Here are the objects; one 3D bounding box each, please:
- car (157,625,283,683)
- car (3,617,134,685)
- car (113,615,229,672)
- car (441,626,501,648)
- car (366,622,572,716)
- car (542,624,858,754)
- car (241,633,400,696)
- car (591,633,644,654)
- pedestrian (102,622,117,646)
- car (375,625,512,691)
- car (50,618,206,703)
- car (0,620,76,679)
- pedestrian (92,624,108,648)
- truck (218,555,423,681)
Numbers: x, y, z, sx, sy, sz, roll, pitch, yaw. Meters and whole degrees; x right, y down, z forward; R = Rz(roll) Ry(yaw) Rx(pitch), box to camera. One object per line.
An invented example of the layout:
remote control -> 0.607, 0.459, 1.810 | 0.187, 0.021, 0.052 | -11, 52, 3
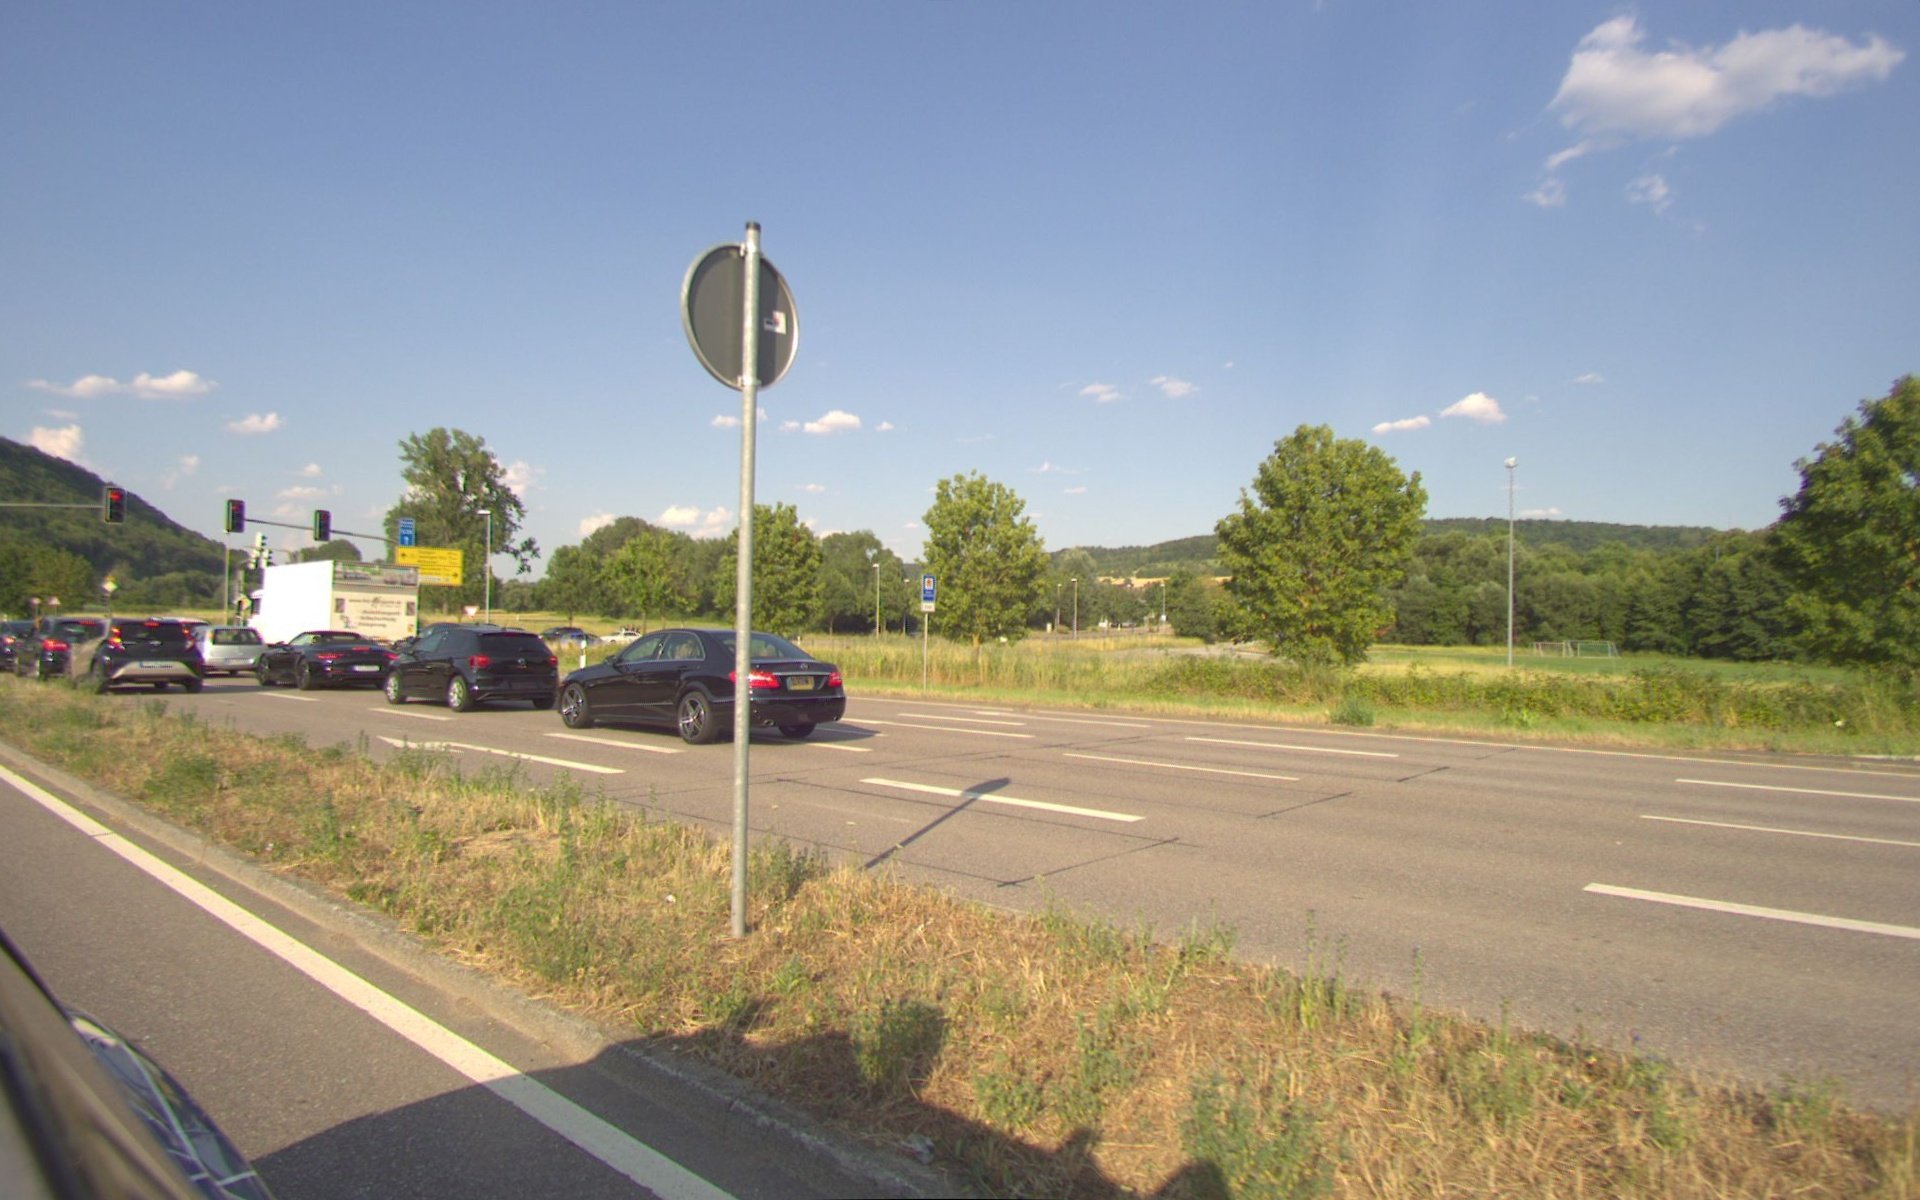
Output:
car -> -21.059, 1.477, 28.719 | 5.077, 1.416, 1.685 | 0, -2, 40
car -> -22.228, 1.259, 25.181 | 4.567, 1.550, 1.762 | -2, -4, 40
car -> -25.939, 1.388, 33.216 | 4.803, 1.691, 1.973 | 0, -2, 40
car -> -37.446, 2.808, 77.584 | 1.759, 1.431, 3.845 | 0, 1, 26
car -> -8.914, 1.184, 18.231 | 4.241, 1.485, 1.685 | -1, -4, 39
car -> -3.650, 1.098, 13.712 | 4.723, 1.475, 1.698 | -1, -4, 40
car -> -14.942, 1.450, 23.539 | 4.814, 1.293, 1.685 | -1, -3, 40
car -> -29.550, 3.756, 87.480 | 1.589, 1.630, 4.206 | 0, 1, 38
pedestrian -> -58.961, 2.344, 70.180 | 0.645, 1.618, 0.892 | 0, 0, -28
car -> -13.622, 1.491, 26.611 | 3.997, 1.541, 1.744 | 0, -3, 40
car -> -17.203, 1.185, 20.864 | 3.997, 1.531, 1.762 | 0, -2, 40
car -> -26.937, 1.349, 28.860 | 4.924, 1.477, 1.772 | 0, -1, 39
pedestrian -> -59.915, 2.503, 70.498 | 0.645, 1.618, 0.839 | 0, 0, -28
truck -> -21.956, 0.600, 34.349 | 10.495, 3.718, 2.902 | 0, -3, 42
